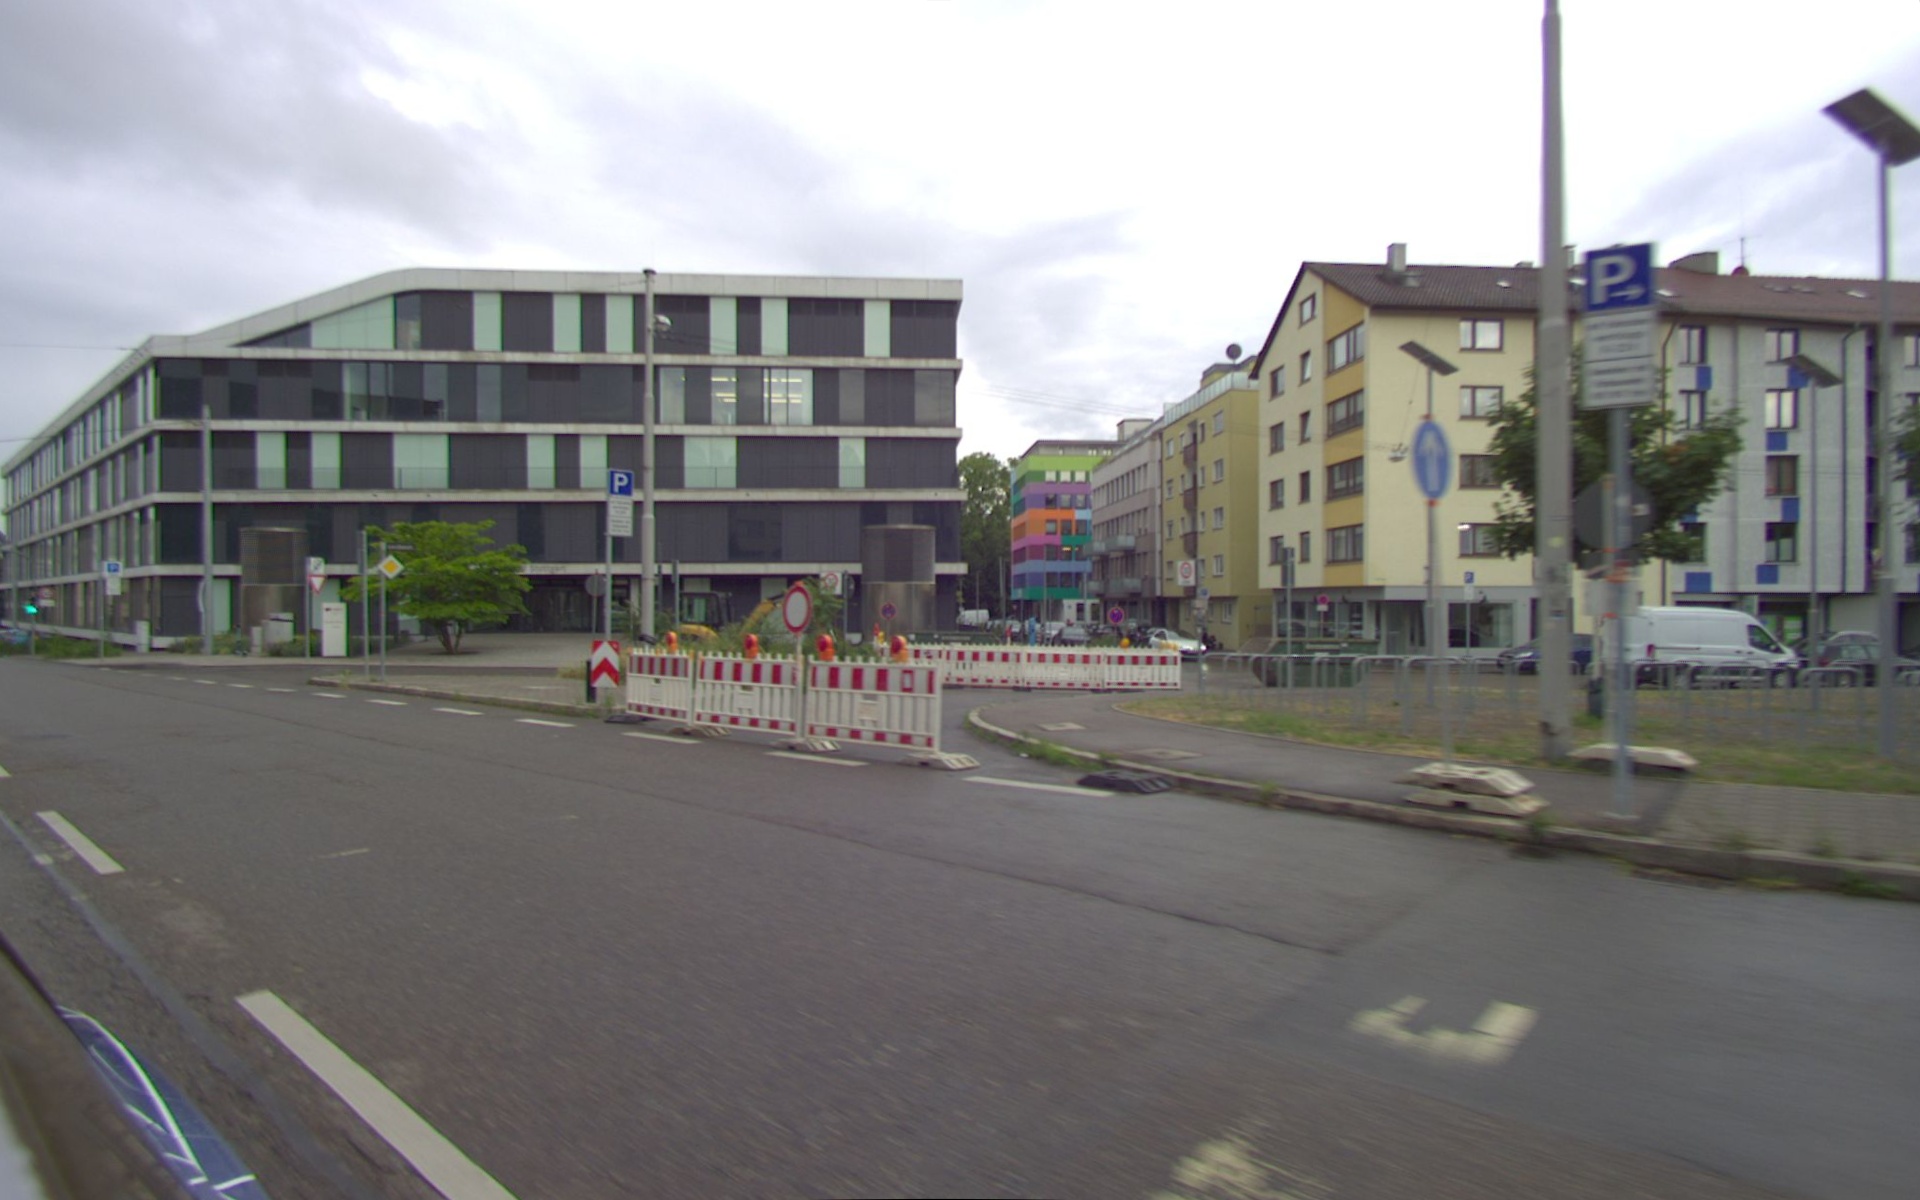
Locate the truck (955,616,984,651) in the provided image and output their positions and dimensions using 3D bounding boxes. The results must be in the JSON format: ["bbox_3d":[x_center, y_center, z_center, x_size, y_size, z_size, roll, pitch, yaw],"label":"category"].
[{"bbox_3d":[1.222,4.560,135.181,2.954,4.396,8.007,-1,-3,-5],"label":"truck"}]

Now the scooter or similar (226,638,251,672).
[{"bbox_3d":[-27.289,2.075,38.269,1.231,1.258,0.491,-2,0,43],"label":"scooter or similar"}]

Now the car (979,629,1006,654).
[{"bbox_3d":[2.775,3.586,87.100,1.773,2.029,4.004,-1,-3,-5],"label":"car"}]

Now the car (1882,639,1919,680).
[{"bbox_3d":[37.323,2.215,37.949,3.938,1.522,1.802,0,-3,-6],"label":"car"}]

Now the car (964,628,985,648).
[{"bbox_3d":[1.486,3.966,105.628,1.773,2.029,4.004,-1,-3,-5],"label":"car"}]

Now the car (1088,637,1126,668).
[{"bbox_3d":[10.522,3.785,72.714,1.773,2.170,4.004,-1,-3,-5],"label":"car"}]

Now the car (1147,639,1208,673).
[{"bbox_3d":[10.431,2.683,48.807,1.773,1.522,4.004,-1,-3,-5],"label":"car"}]

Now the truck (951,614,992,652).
[{"bbox_3d":[1.601,5.106,153.348,4.749,5.440,13.916,-1,-3,-5],"label":"truck"}]

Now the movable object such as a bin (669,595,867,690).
[{"bbox_3d":[-5.348,1.187,28.523,5.218,2.478,1.670,-1,-1,3],"label":"movable object such as a bin"}]

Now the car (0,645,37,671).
[{"bbox_3d":[-56.211,3.446,60.108,3.581,1.478,1.621,-3,-2,40],"label":"car"}]

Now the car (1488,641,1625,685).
[{"bbox_3d":[21.642,2.286,36.808,3.938,1.522,1.802,0,-3,-6],"label":"car"}]

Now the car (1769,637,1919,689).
[{"bbox_3d":[27.356,1.912,30.867,3.939,1.522,1.802,0,-3,-5],"label":"car"}]

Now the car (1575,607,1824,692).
[{"bbox_3d":[22.186,1.481,30.534,5.643,2.432,2.678,0,-3,-7],"label":"car"}]

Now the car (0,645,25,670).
[{"bbox_3d":[-59.786,3.597,63.319,3.583,1.478,1.619,-3,-2,43],"label":"car"}]
